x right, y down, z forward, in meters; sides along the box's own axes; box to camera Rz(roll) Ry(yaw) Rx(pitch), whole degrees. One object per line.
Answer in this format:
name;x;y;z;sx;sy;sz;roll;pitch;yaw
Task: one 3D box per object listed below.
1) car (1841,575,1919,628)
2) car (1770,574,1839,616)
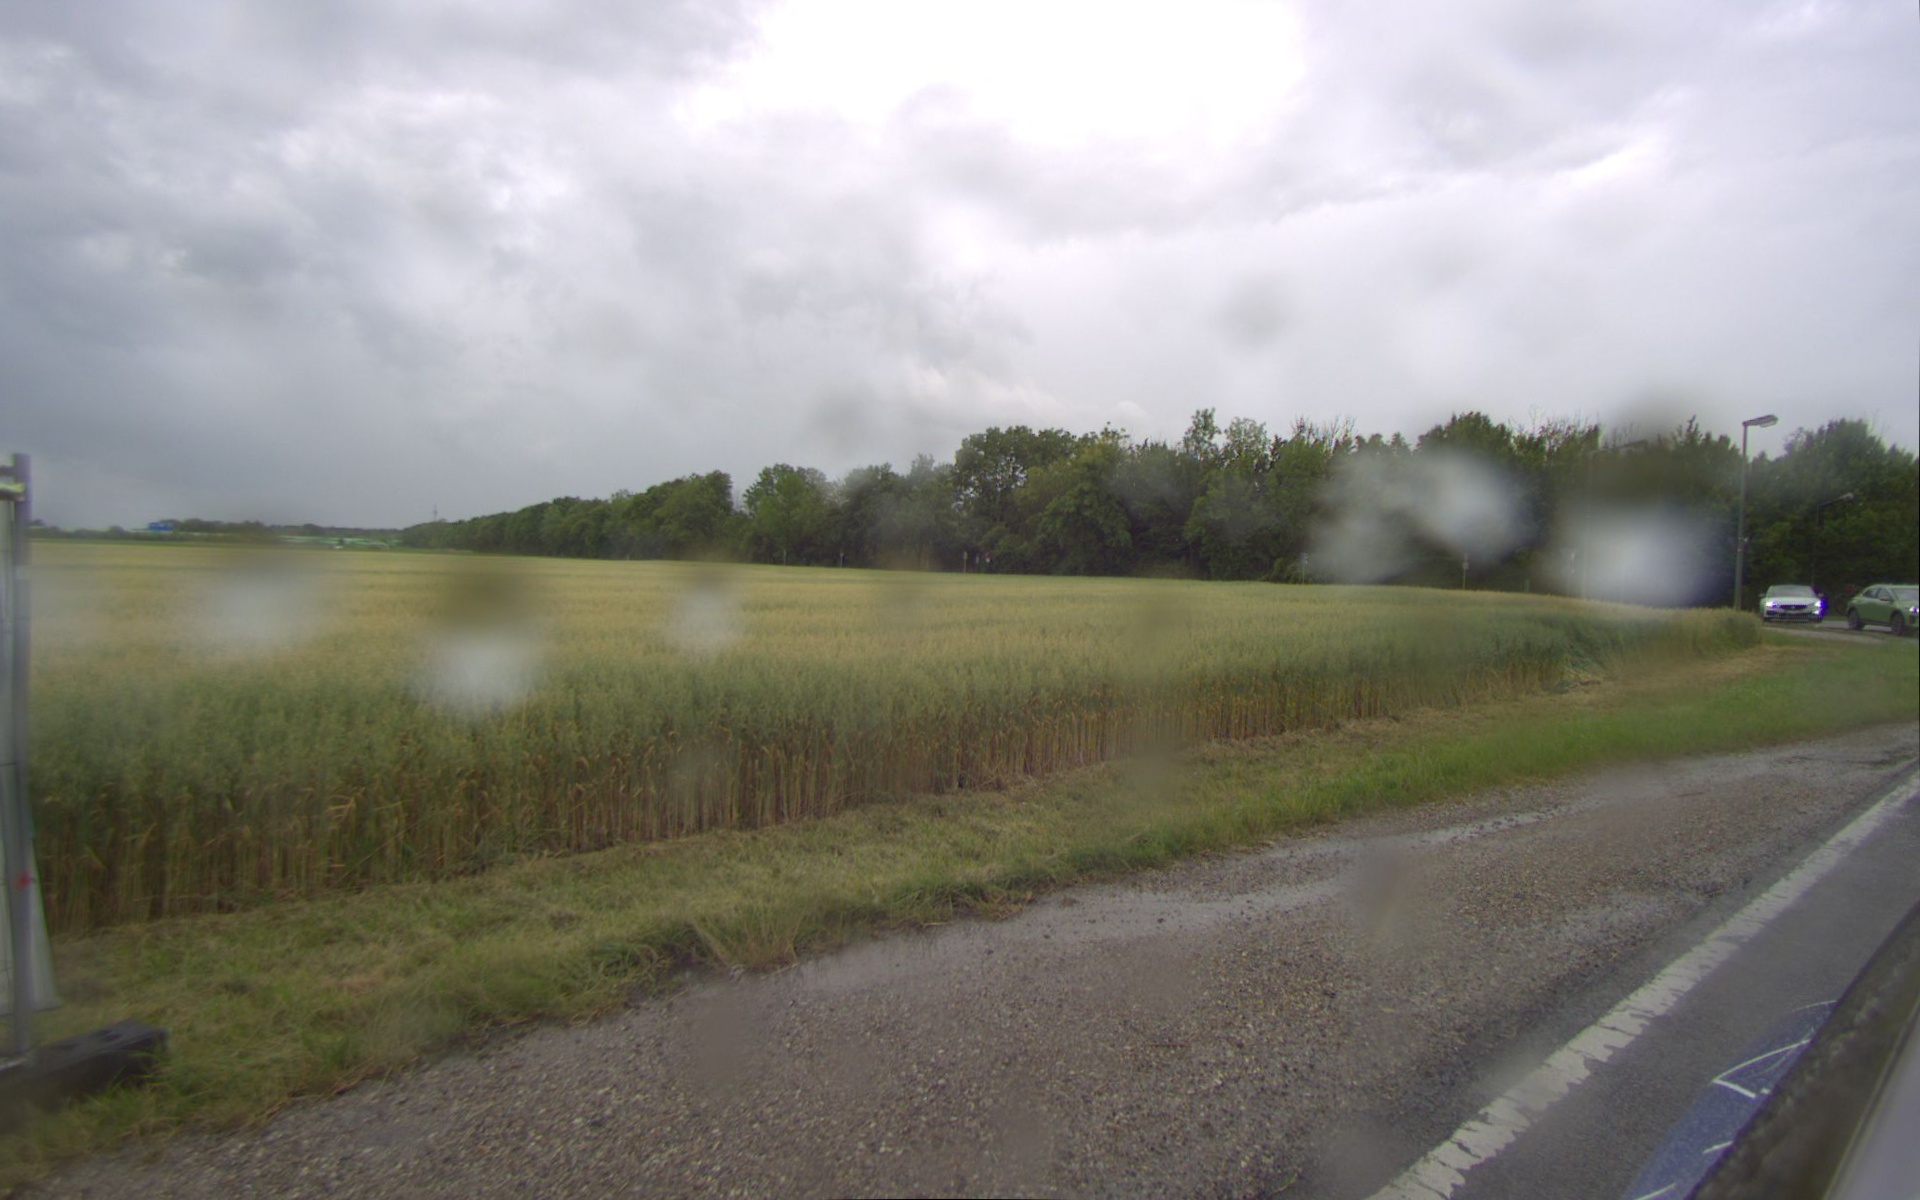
car;29.665;0.046;31.264;1.869;1.550;5.221;1;1;20
car;32.948;-0.208;39.573;1.883;1.550;4.440;1;1;38
